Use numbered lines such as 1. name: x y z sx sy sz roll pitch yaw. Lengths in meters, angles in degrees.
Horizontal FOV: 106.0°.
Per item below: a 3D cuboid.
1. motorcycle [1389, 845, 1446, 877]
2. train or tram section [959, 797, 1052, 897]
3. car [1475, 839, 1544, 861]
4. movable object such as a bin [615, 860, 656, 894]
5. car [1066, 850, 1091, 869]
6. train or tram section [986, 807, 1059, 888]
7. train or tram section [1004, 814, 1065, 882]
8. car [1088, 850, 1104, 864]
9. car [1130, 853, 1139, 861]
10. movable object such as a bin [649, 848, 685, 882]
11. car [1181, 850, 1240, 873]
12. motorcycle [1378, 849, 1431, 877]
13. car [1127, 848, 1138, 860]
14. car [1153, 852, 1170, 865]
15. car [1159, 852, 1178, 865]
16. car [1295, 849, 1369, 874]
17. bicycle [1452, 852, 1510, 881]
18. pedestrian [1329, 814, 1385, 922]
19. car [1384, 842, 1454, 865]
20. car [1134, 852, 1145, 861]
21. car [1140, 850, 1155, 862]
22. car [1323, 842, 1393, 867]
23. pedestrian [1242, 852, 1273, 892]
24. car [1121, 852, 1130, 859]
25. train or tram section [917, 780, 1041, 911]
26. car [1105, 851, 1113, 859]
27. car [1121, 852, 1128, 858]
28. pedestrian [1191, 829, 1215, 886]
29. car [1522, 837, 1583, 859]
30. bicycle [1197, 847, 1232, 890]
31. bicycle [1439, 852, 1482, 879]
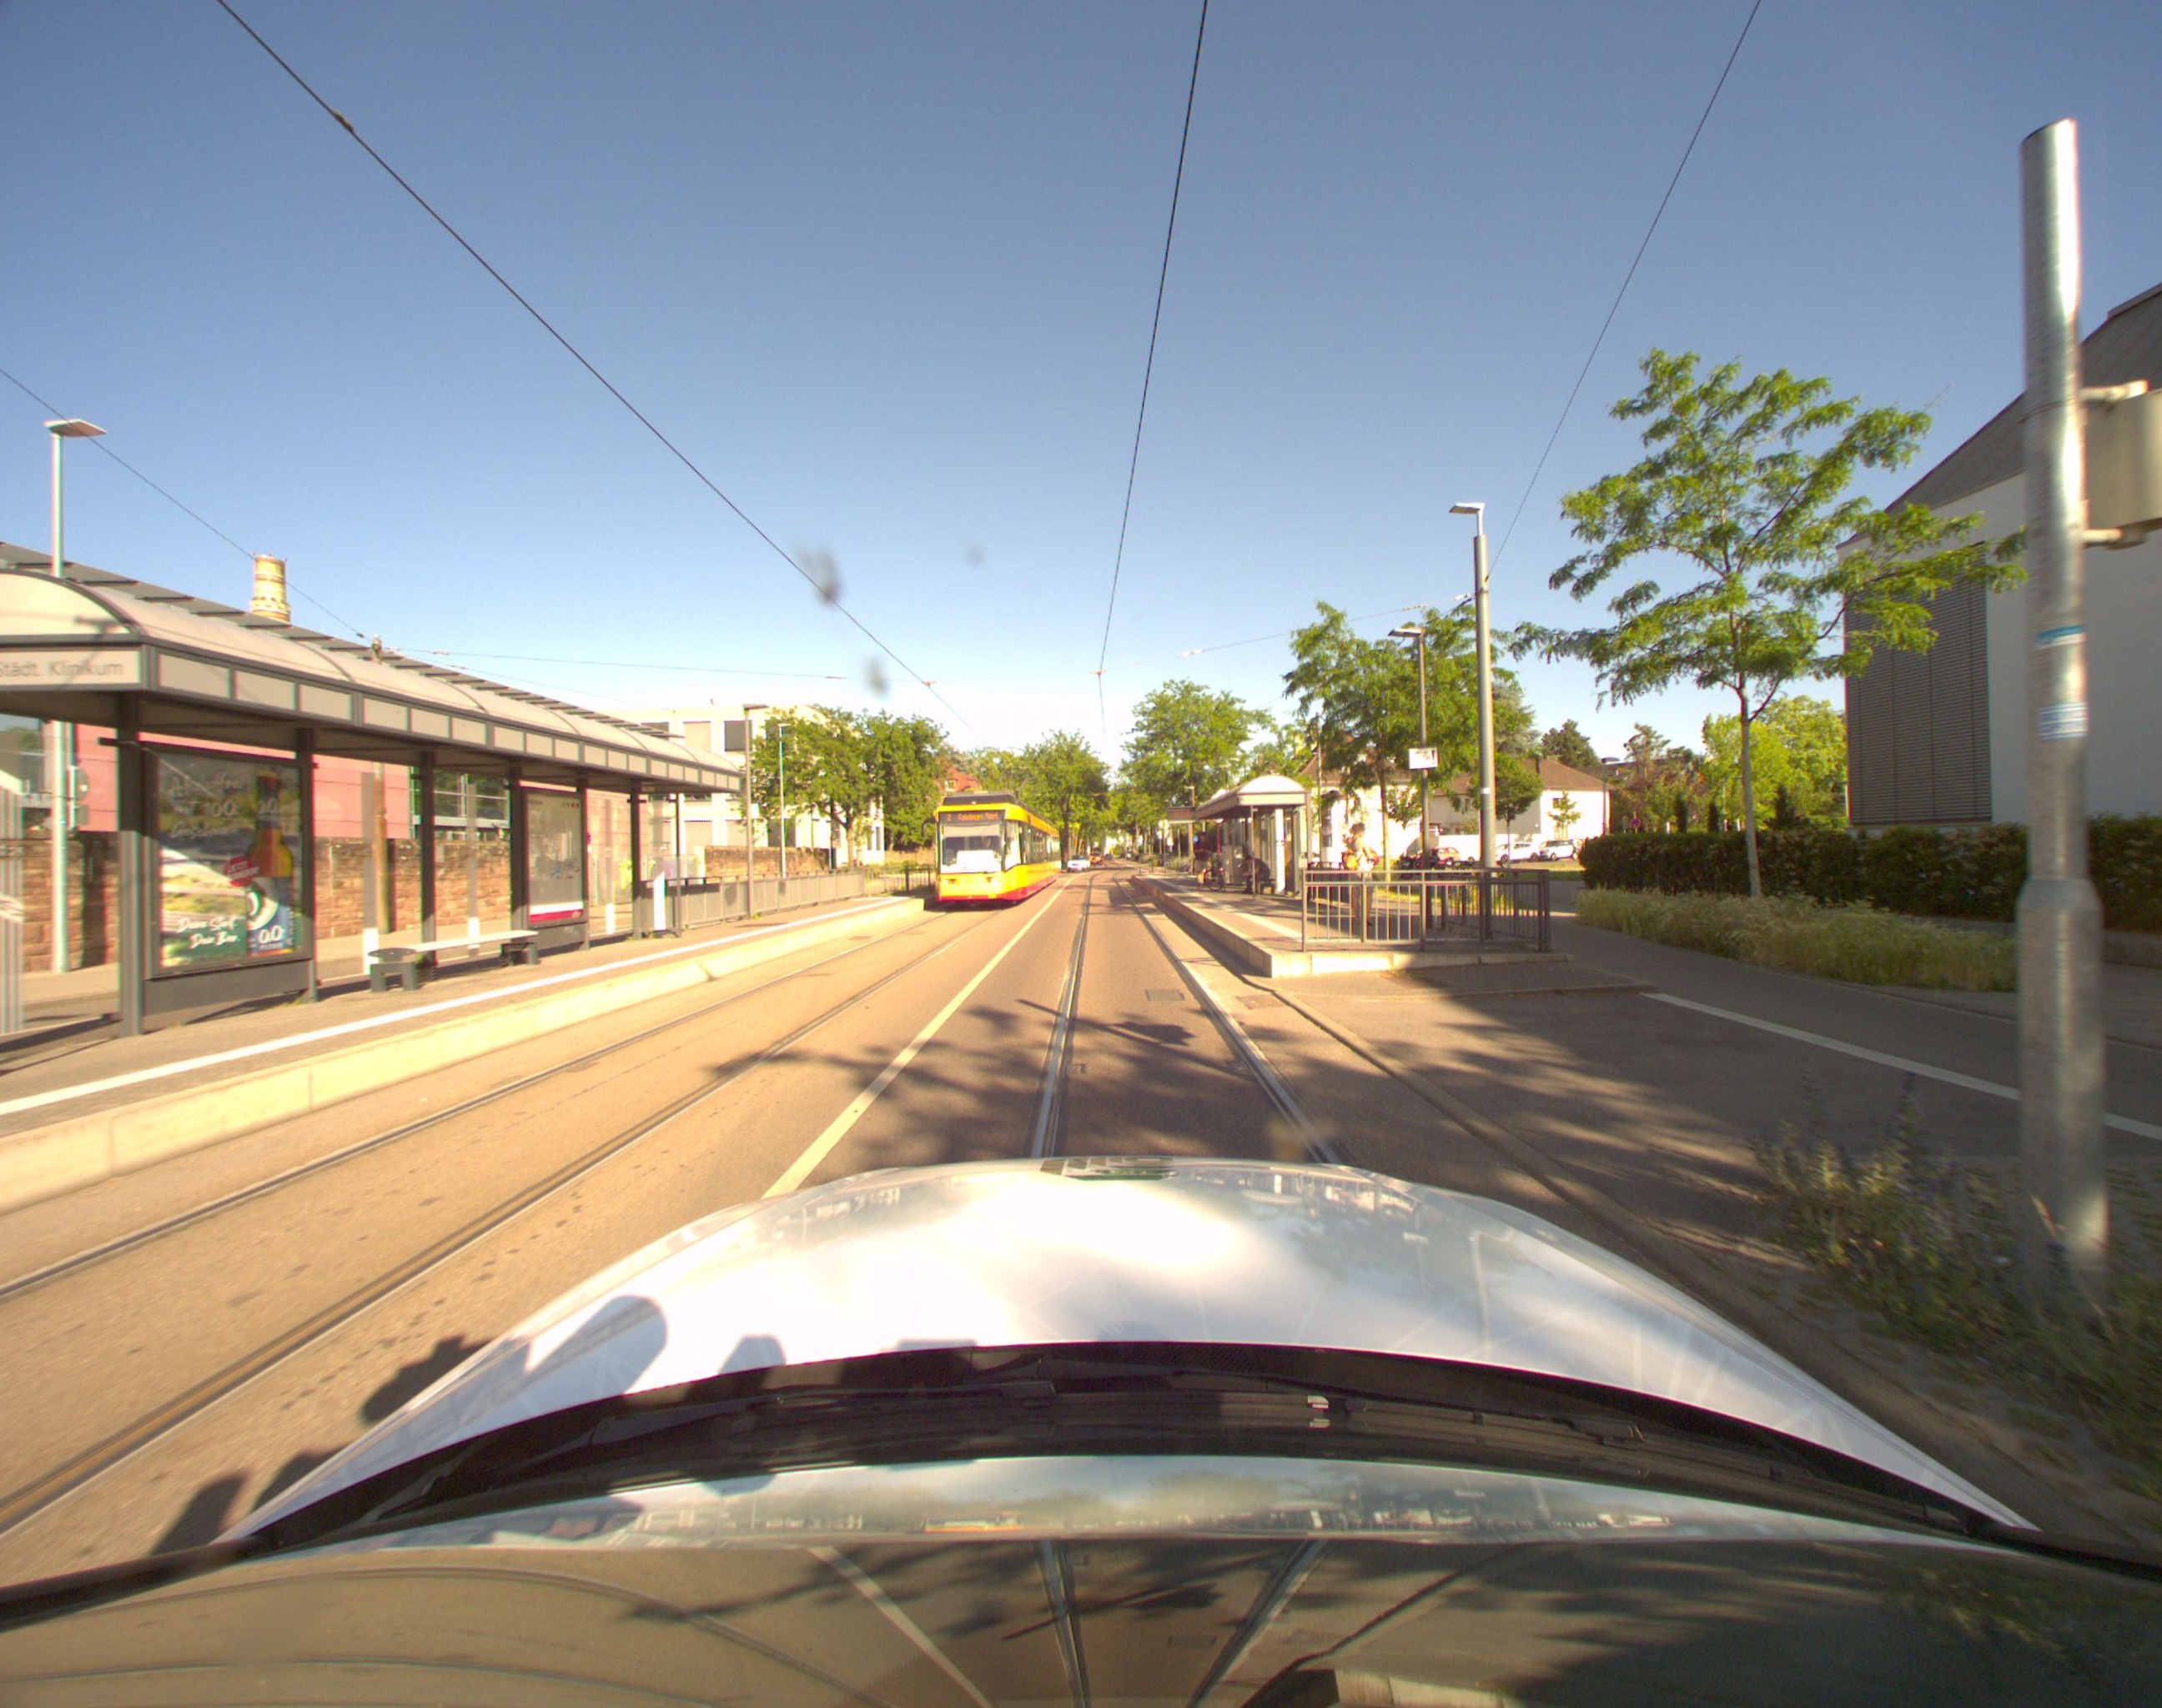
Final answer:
1. motorcycle: 14.272 0.311 34.561 2.074 1.274 0.860 -2 0 -6
2. train or tram section: -2.766 -0.262 31.879 2.794 3.459 6.670 -1 0 1
3. car: 30.602 -0.285 58.142 4.172 1.508 1.971 -1 0 -17
4. movable object such as a bin: -17.557 0.877 32.103 0.878 1.285 1.309 -2 0 -1
5. car: -0.195 0.474 73.649 1.756 1.663 4.216 -2 0 5
6. train or tram section: -2.620 -0.281 38.576 2.794 3.459 6.670 -1 0 1
7. train or tram section: -2.455 -0.302 45.250 2.794 3.459 6.670 -1 0 1
8. car: 2.136 0.478 117.858 1.988 1.966 4.930 -2 0 -2
9. car: 11.116 0.663 170.350 1.621 1.397 3.646 -4 0 1
10. movable object such as a bin: -17.998 0.481 35.440 0.878 1.447 1.309 -2 0 0
11. car: 9.018 0.489 56.535 3.962 1.508 1.988 -1 0 10
12. motorcycle: 14.369 0.390 36.145 1.995 1.158 0.860 -2 0 -6
13. car: 12.048 -0.030 191.676 2.238 2.654 5.586 -2 0 1
14. car: 10.069 0.513 101.818 1.742 1.495 3.997 -2 0 1
15. car: 10.269 0.525 95.647 1.742 1.495 4.444 -2 0 1
16. car: 16.718 0.515 54.393 4.569 1.466 1.990 -2 -2 15
17. bicycle: 14.538 0.453 29.614 1.895 0.979 0.490 -2 0 -6
18. pedestrian: 4.467 0.218 13.213 0.669 1.704 0.690 0 0 0
19. car: 23.700 -0.061 57.197 4.157 1.508 1.978 -1 0 -6
20. car: 11.464 0.488 160.486 1.779 1.448 4.299 -4 0 -1
21. car: 10.892 0.358 134.275 1.987 1.704 4.477 -4 0 0
22. car: 19.297 0.005 56.834 4.150 1.642 1.981 -1 0 -1
23. pedestrian: 5.032 0.505 23.216 0.735 1.117 0.658 0 0 0
24. car: 12.218 0.385 223.874 1.996 1.675 4.392 -4 0 1
25. train or tram section: -2.911 -0.235 25.194 2.794 3.459 6.670 -1 0 1
26. car: 6.872 0.264 200.333 1.859 1.675 4.173 -2 0 1
27. car: 12.842 0.395 241.330 1.993 1.675 4.398 -4 0 5
28. pedestrian: 4.016 0.113 26.852 0.708 1.853 0.729 0 0 2
29. car: 35.024 -0.452 60.498 4.005 1.574 1.984 0 1 -24
30. bicycle: 3.996 0.410 24.523 0.618 1.229 1.965 -1 0 -3
31. bicycle: 14.491 0.450 31.122 1.468 0.979 0.415 -2 0 -6
